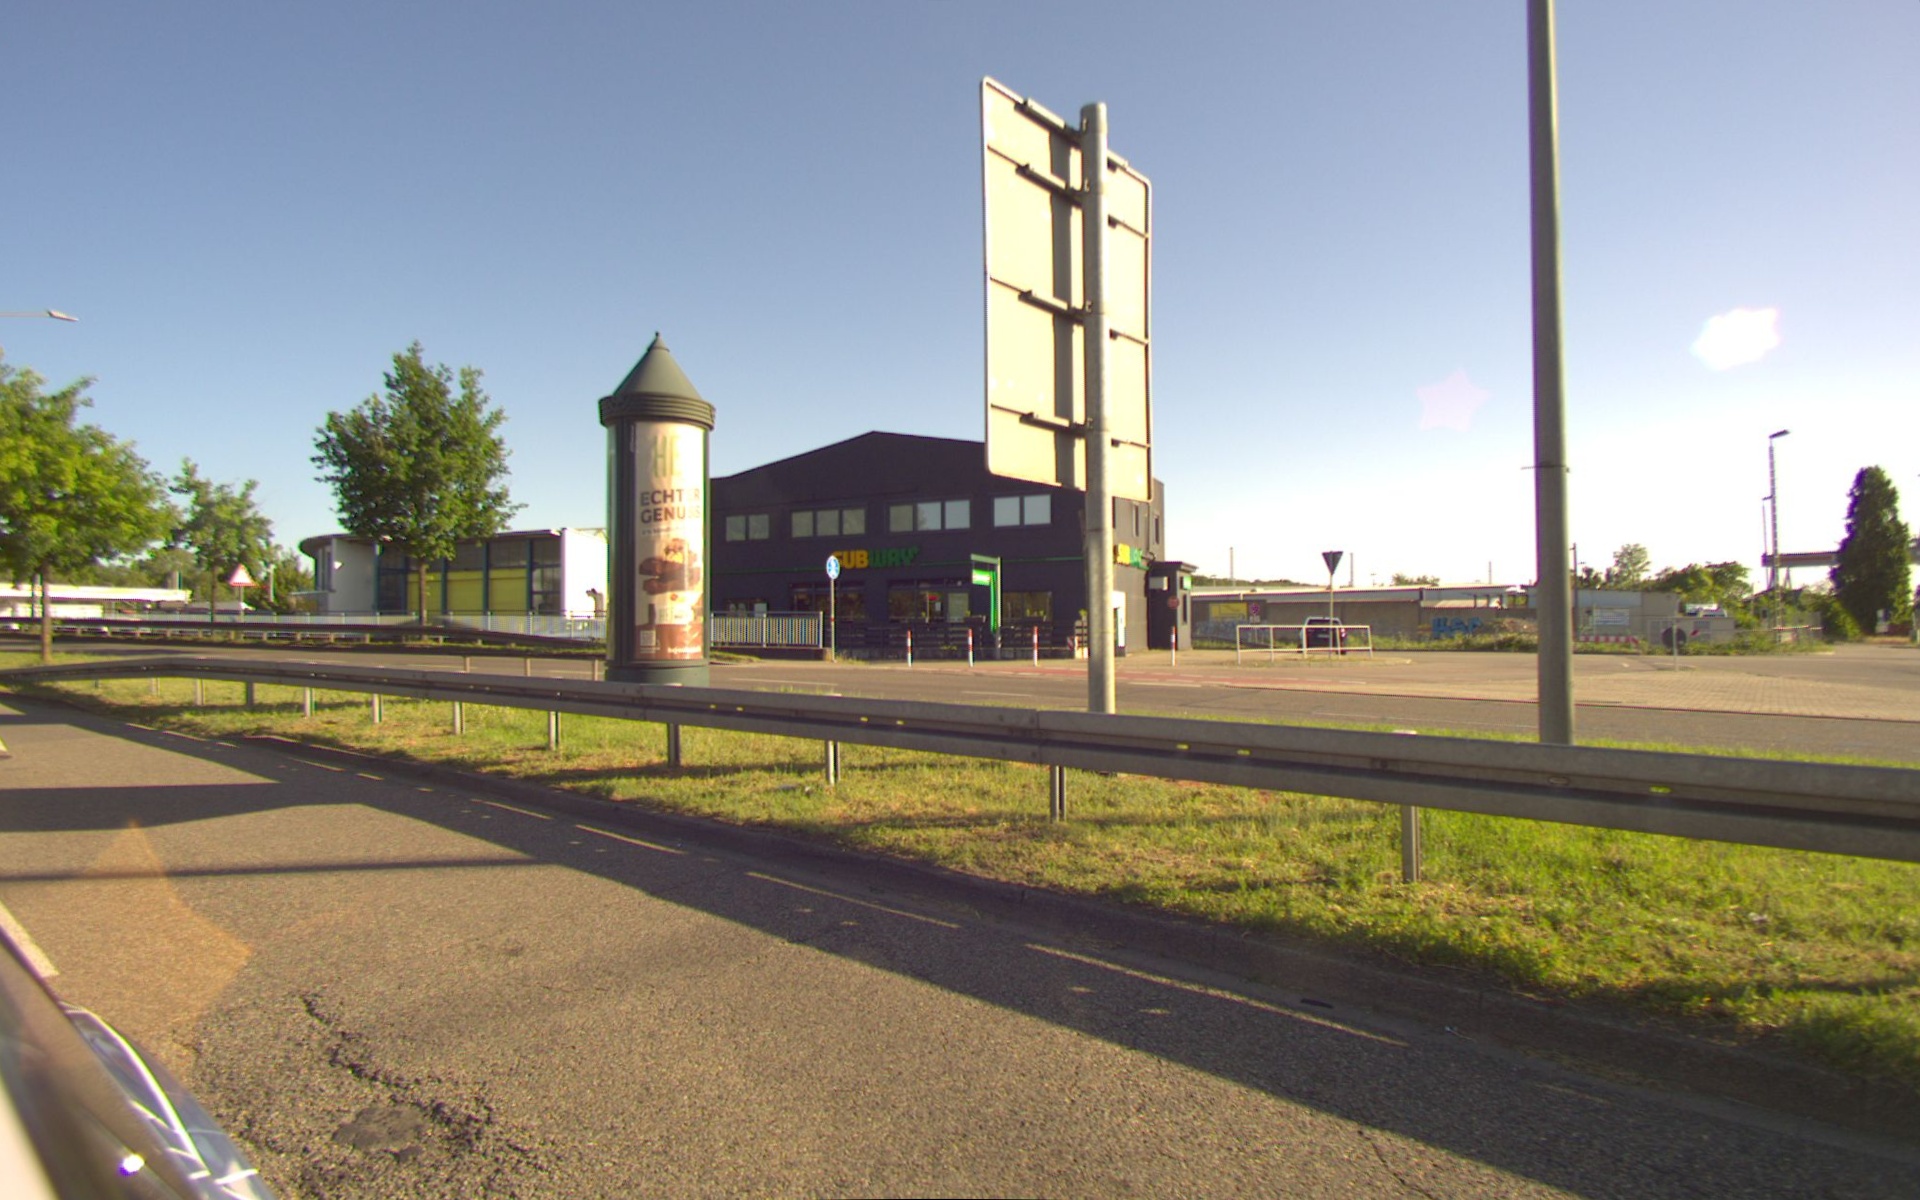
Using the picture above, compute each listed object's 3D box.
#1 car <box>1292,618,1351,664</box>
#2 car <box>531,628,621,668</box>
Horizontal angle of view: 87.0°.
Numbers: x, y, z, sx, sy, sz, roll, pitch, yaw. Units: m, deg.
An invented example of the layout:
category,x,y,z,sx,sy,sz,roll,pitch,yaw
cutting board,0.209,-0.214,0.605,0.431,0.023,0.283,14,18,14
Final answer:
category,x,y,z,sx,sy,sz,roll,pitch,yaw
car,14.467,1.670,40.648,1.936,1.728,4.086,1,-3,16
car,-16.730,2.047,44.117,3.428,1.579,1.618,0,0,-32
